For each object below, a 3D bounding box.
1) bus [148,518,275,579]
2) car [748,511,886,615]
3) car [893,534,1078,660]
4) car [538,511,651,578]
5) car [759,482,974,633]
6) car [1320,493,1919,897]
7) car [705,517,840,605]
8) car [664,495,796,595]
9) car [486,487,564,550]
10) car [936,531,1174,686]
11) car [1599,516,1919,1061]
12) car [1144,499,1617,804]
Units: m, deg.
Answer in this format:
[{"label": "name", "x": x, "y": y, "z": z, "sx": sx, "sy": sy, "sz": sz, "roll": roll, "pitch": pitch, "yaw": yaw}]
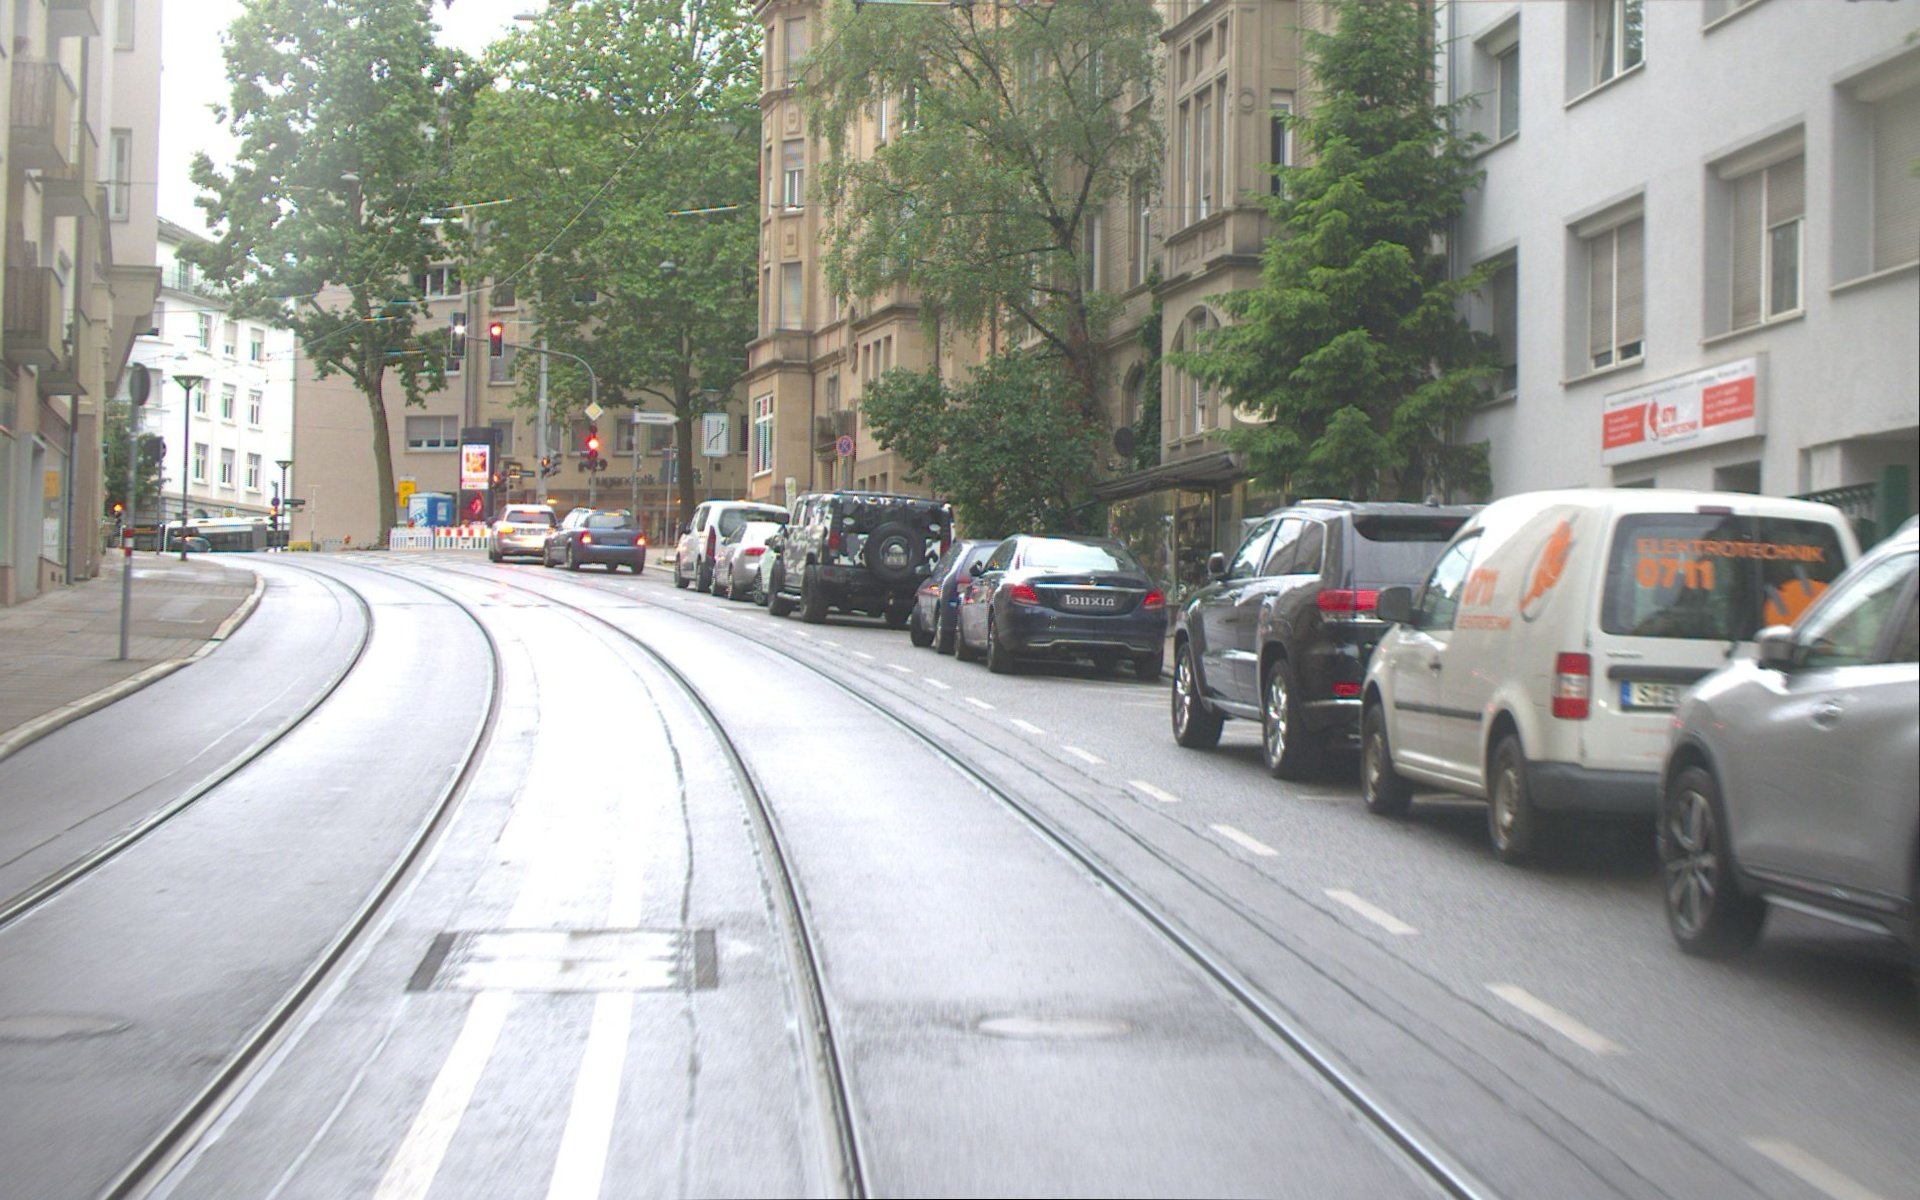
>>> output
[{"label": "bus", "x": -36.775, "y": -2.567, "z": 169.296, "sx": 2.856, "sy": 2.851, "sz": 8.730, "roll": 1, "pitch": 2, "yaw": 11}, {"label": "car", "x": -2.402, "y": -0.635, "z": 56.909, "sx": 1.559, "sy": 1.540, "sz": 3.586, "roll": 3, "pitch": 1, "yaw": -13}, {"label": "car", "x": 0.253, "y": -0.071, "z": 41.129, "sx": 1.678, "sy": 1.333, "sz": 3.884, "roll": 2, "pitch": 2, "yaw": -7}, {"label": "car", "x": -8.607, "y": -1.317, "z": 80.768, "sx": 1.710, "sy": 1.410, "sz": 4.038, "roll": 1, "pitch": 2, "yaw": -20}, {"label": "car", "x": -1.458, "y": -0.677, "z": 50.980, "sx": 2.128, "sy": 2.007, "sz": 5.352, "roll": 3, "pitch": 1, "yaw": -12}, {"label": "car", "x": 3.280, "y": 0.391, "z": 17.901, "sx": 1.778, "sy": 1.789, "sz": 4.472, "roll": 2, "pitch": 1, "yaw": -7}, {"label": "car", "x": -3.417, "y": -0.732, "z": 61.841, "sx": 1.748, "sy": 1.396, "sz": 4.480, "roll": 3, "pitch": 1, "yaw": -11}, {"label": "car", "x": -4.512, "y": -1.094, "z": 66.935, "sx": 1.797, "sy": 1.759, "sz": 4.464, "roll": 3, "pitch": 1, "yaw": -13}, {"label": "car", "x": -10.948, "y": -2.066, "z": 86.388, "sx": 1.710, "sy": 1.451, "sz": 3.554, "roll": 2, "pitch": 2, "yaw": -11}, {"label": "car", "x": 0.935, "y": 0.039, "z": 36.580, "sx": 1.794, "sy": 1.432, "sz": 4.612, "roll": 2, "pitch": 2, "yaw": -7}, {"label": "car", "x": 3.738, "y": 0.579, "z": 11.615, "sx": 1.832, "sy": 1.650, "sz": 4.688, "roll": 2, "pitch": 1, "yaw": -5}, {"label": "car", "x": 2.687, "y": 0.263, "z": 23.249, "sx": 1.942, "sy": 1.789, "sz": 4.822, "roll": 2, "pitch": 1, "yaw": -8}]
